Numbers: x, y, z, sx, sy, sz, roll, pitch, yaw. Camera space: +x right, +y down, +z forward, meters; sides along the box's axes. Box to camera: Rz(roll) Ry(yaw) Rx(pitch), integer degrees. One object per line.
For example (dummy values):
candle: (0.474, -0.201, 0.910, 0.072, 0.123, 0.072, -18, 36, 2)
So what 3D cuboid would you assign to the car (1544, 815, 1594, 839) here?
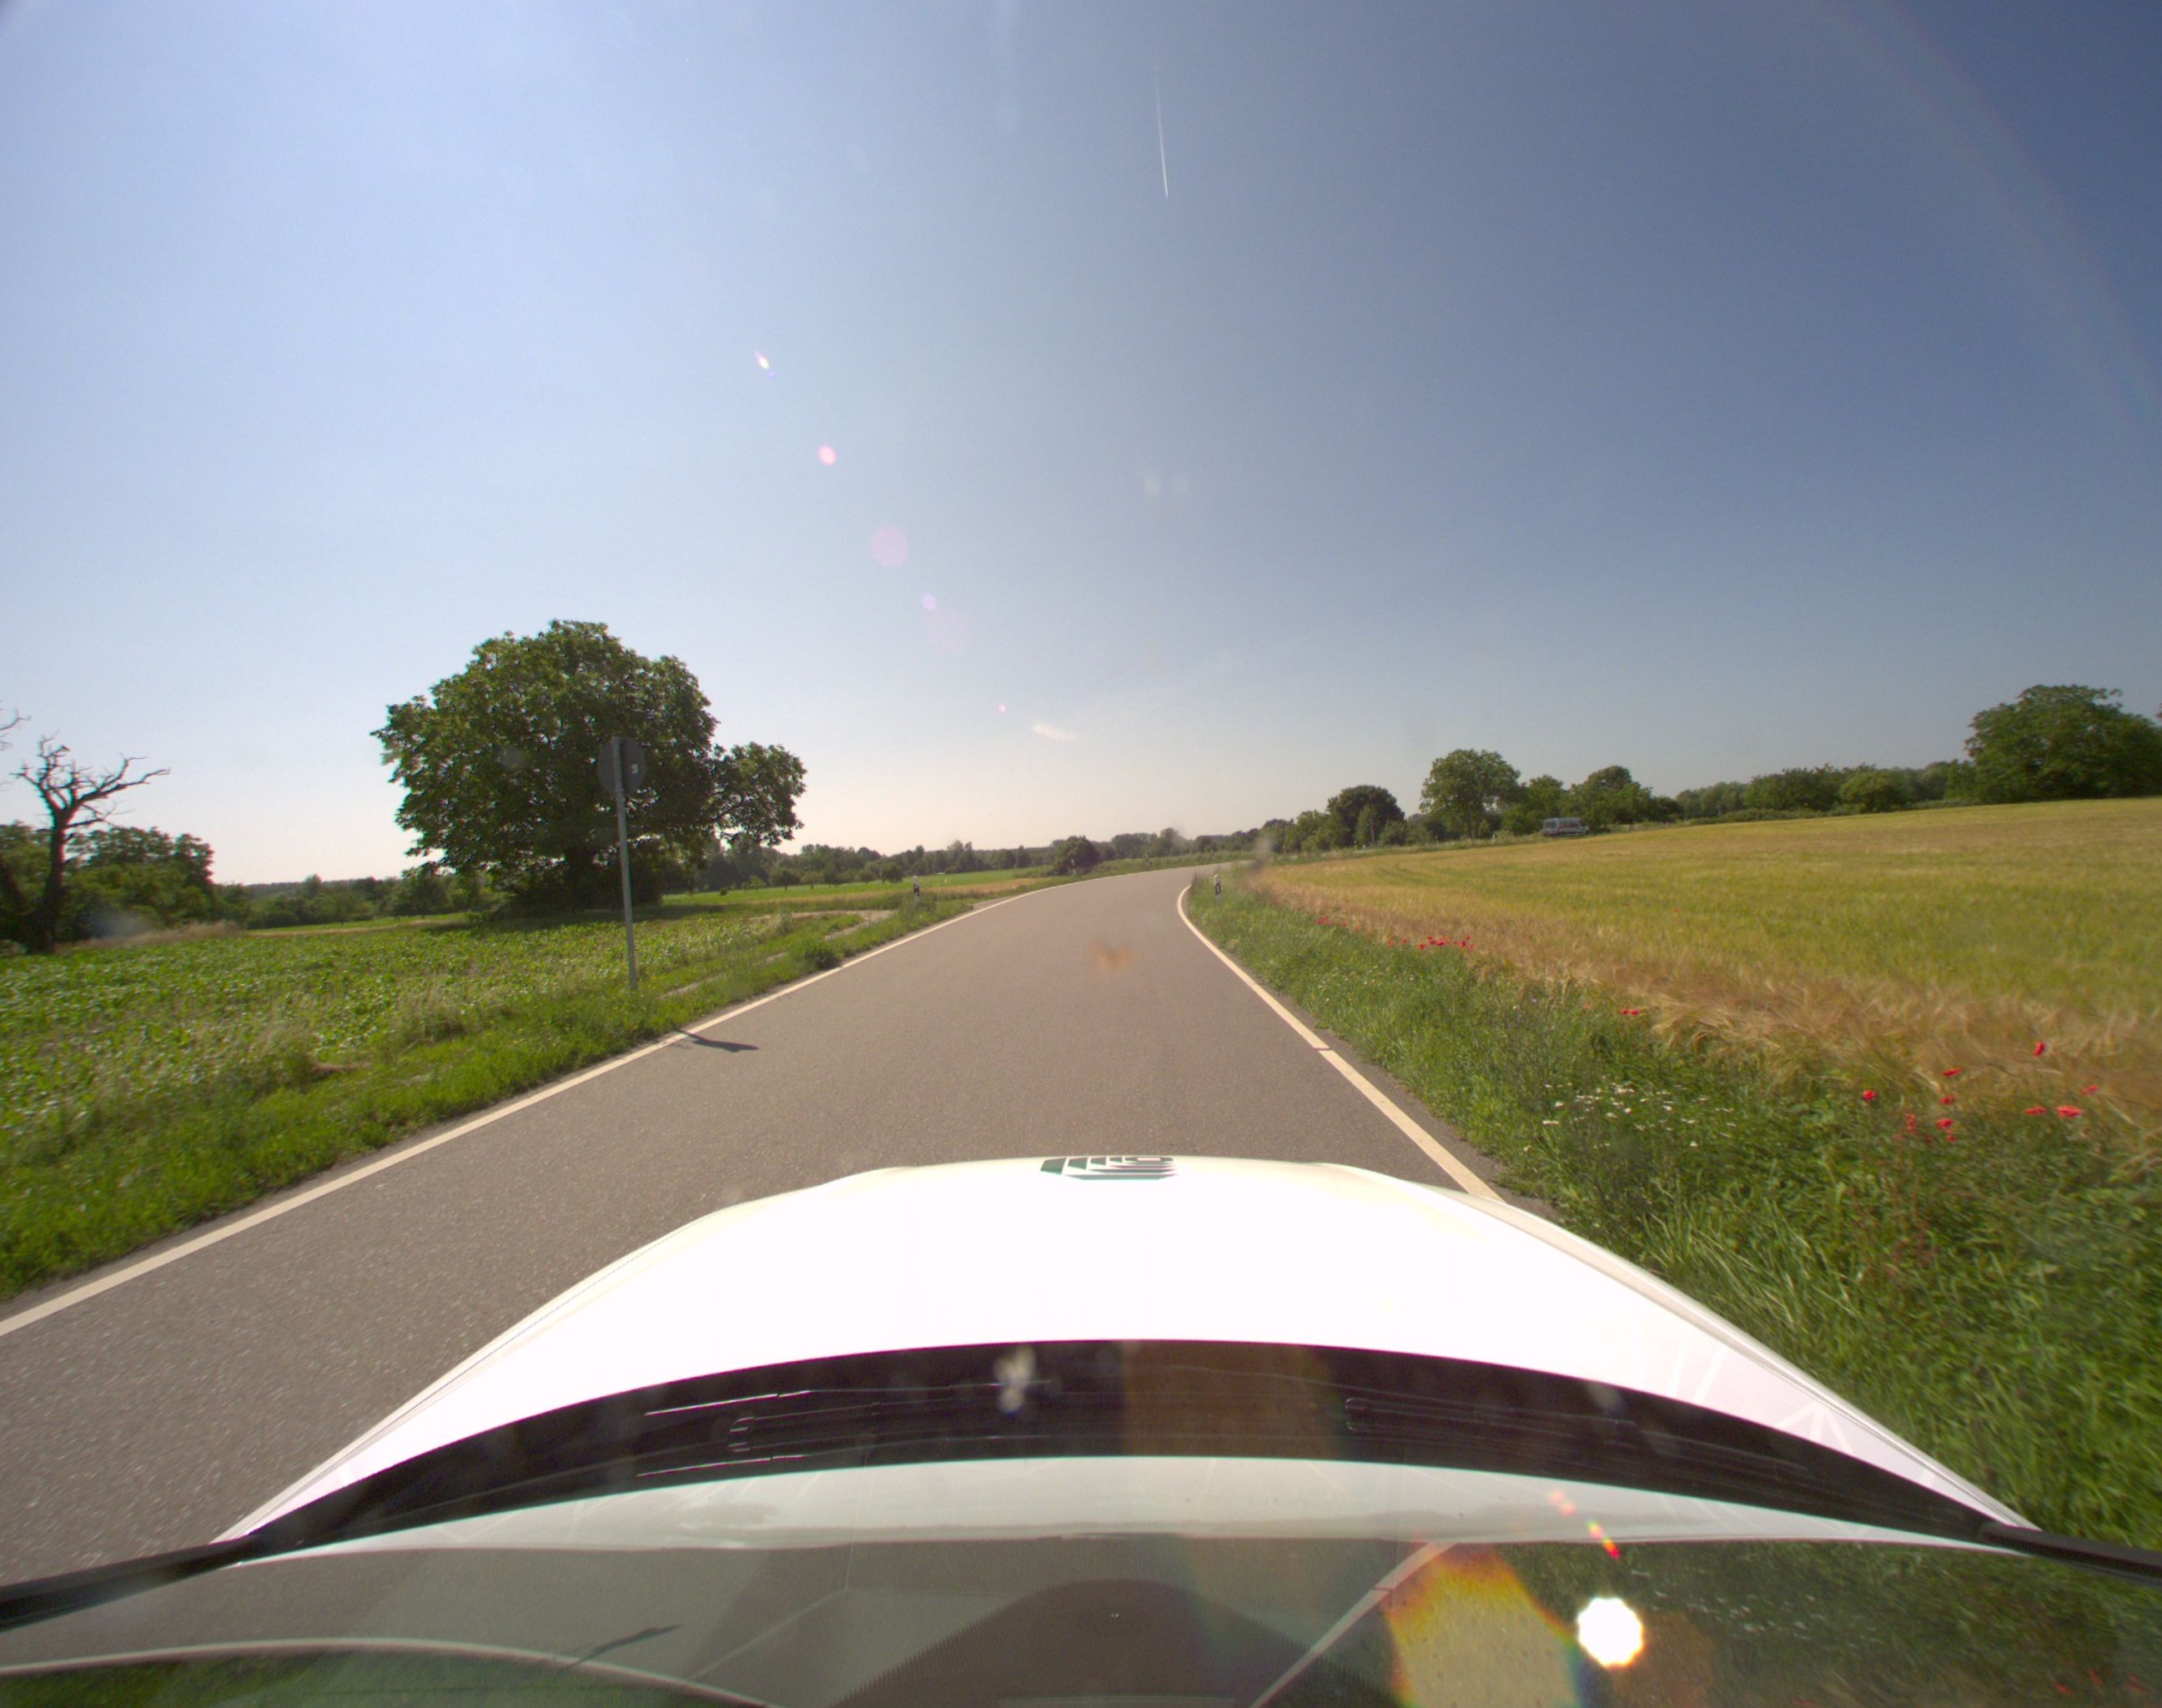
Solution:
car: (57.674, -3.152, 96.276, 5.696, 2.367, 2.093, -4, 0, -25)
